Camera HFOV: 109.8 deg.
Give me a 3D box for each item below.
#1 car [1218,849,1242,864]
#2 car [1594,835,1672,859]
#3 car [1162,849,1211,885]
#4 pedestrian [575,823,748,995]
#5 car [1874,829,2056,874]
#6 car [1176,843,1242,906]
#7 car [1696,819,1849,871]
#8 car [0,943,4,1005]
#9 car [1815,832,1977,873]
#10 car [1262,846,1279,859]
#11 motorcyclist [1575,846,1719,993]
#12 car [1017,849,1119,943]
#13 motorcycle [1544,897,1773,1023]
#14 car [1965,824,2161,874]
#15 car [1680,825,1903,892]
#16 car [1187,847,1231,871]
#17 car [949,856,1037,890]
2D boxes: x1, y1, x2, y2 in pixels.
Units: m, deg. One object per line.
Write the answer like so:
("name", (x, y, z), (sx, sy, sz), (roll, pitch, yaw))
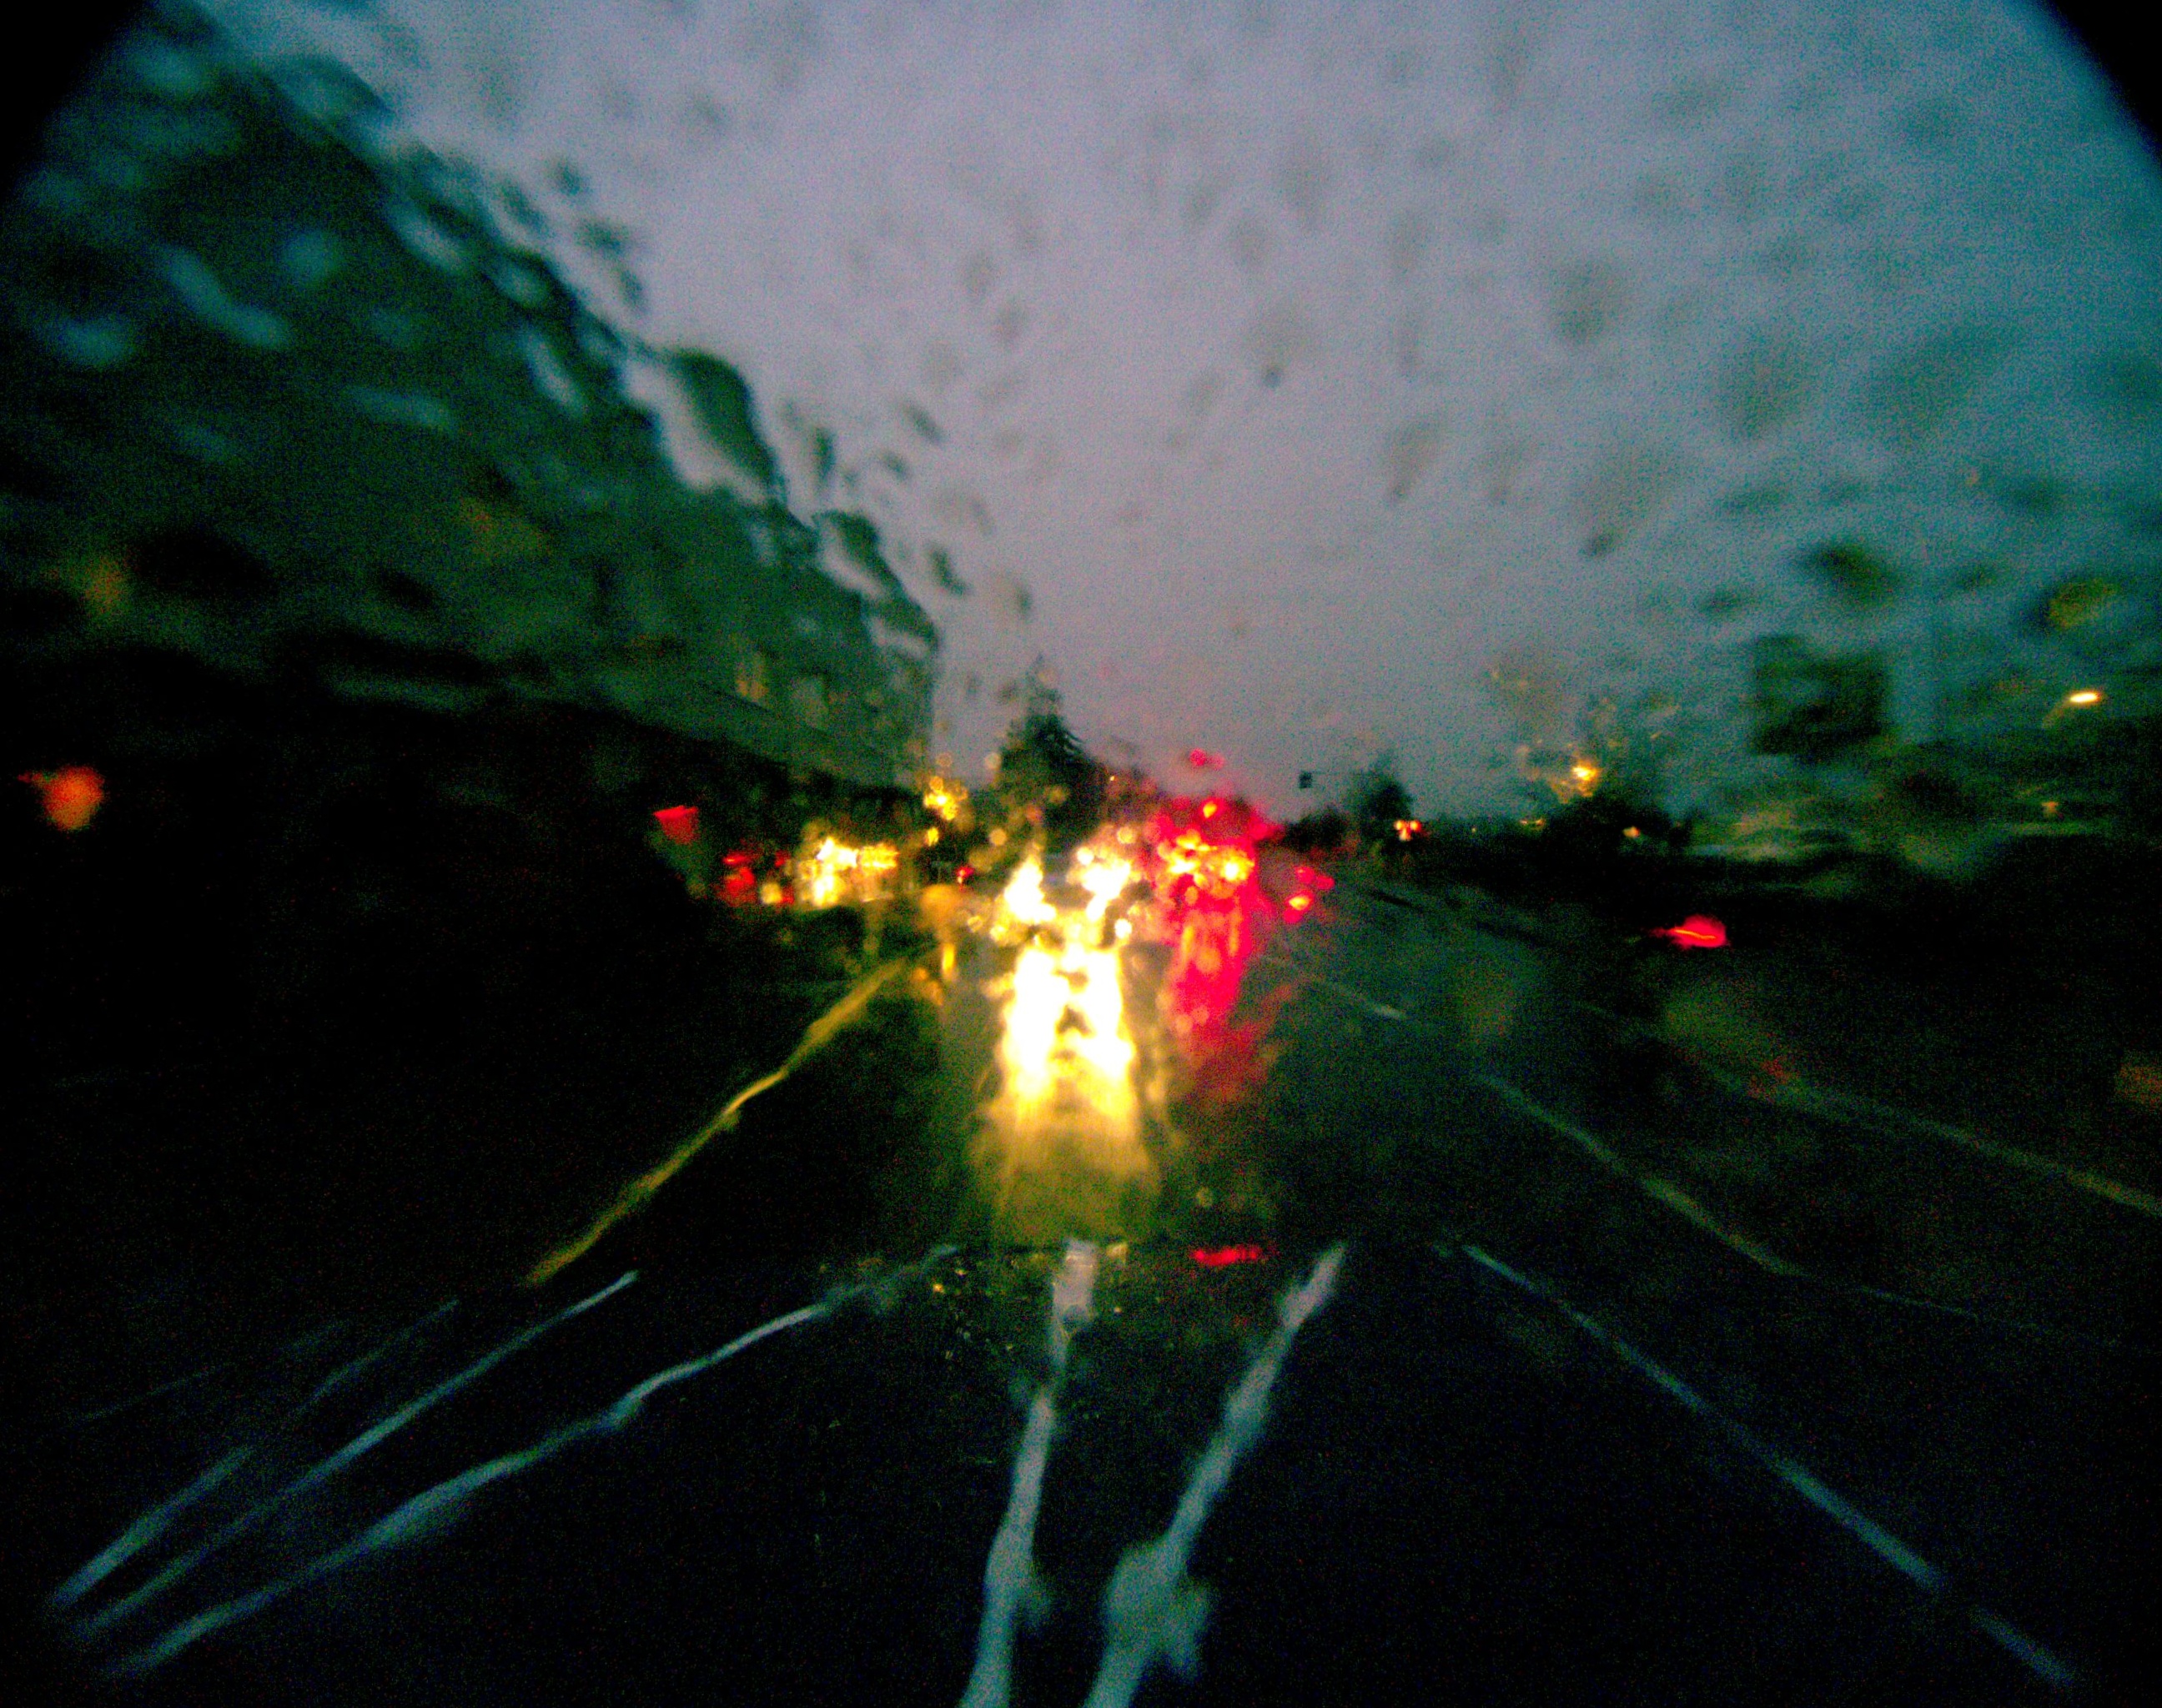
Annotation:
("car", (14.832, 0.257, 75.560), (1.773, 1.422, 3.802), (-3, -1, 20))
("car", (36.976, -0.490, 51.054), (1.687, 1.528, 4.784), (-1, 1, -1))
("car", (4.783, 0.539, 34.188), (1.665, 1.477, 4.004), (-2, 1, 15))
("pedestrian", (-4.851, 0.592, 8.915), (1.257, 1.855, 1.303), (1, 1, 4))
("car", (31.772, -0.069, 27.390), (4.443, 1.554, 2.055), (0, -1, -5))
("car", (3.877, 0.569, 23.592), (1.775, 1.713, 4.423), (-2, 0, 7))
("car", (31.365, -0.380, 34.548), (5.201, 2.269, 2.218), (0, 0, -5))
("car", (-11.548, 1.023, 5.640), (1.882, 1.251, 4.163), (-1, 2, -17))
("car", (31.929, -0.050, 29.852), (4.443, 1.554, 2.055), (0, -1, -5))
("car", (26.545, -0.257, 106.421), (1.945, 1.795, 4.178), (-2, 0, 19))
("motorcyclist", (6.109, 0.672, 8.254), (0.868, 1.477, 0.909), (-2, 1, 0))
("car", (-0.164, 0.749, 15.834), (1.776, 1.632, 4.422), (-2, 0, 2))
("motorcycle", (6.127, 1.068, 8.266), (0.868, 1.018, 2.109), (-2, 1, 0))
("car", (32.331, -0.151, 24.972), (4.443, 1.554, 2.055), (0, -1, -5))
("car", (20.327, 0.117, 21.859), (4.784, 1.702, 2.032), (-1, 0, -5))
("car", (8.619, 0.292, 50.863), (1.995, 1.464, 4.006), (-2, 0, 23))
("car", (-4.477, 0.957, 39.127), (4.181, 1.432, 1.798), (-4, -1, 1))
